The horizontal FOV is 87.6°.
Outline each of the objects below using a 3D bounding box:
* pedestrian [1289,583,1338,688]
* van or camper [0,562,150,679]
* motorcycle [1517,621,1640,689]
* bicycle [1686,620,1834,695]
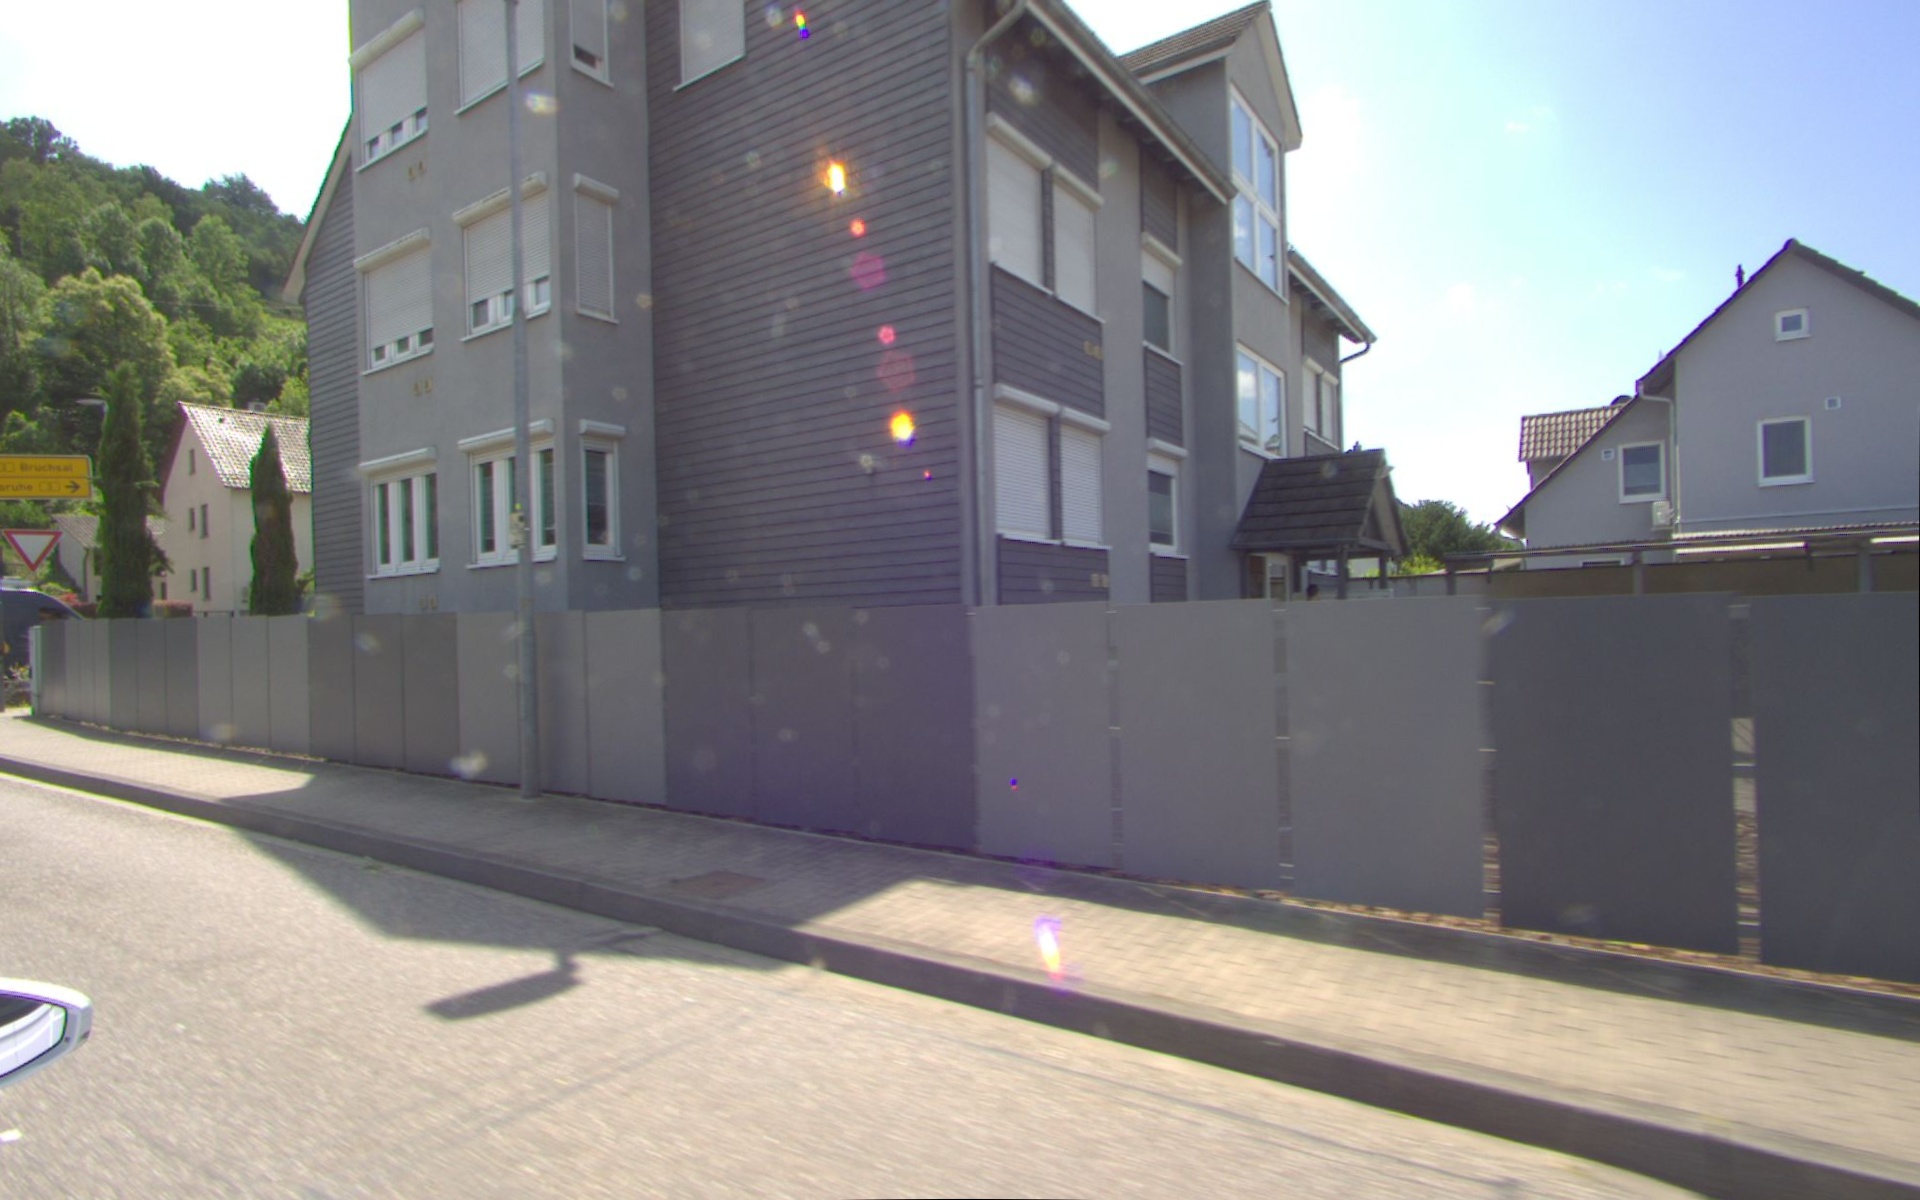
[{"bbox_3d":[5.332,0.532,15.104,0.478,1.549,0.530,0,-1,-45],"label":"pedestrian"},{"bbox_3d":[-25.639,0.562,26.733,2.193,3.043,5.965,-1,-1,40],"label":"van or camper"},{"bbox_3d":[11.567,0.994,18.753,1.926,1.179,0.646,1,0,35],"label":"motorcycle"},{"bbox_3d":[13.770,0.966,17.313,1.926,1.188,0.646,1,0,35],"label":"bicycle"}]
